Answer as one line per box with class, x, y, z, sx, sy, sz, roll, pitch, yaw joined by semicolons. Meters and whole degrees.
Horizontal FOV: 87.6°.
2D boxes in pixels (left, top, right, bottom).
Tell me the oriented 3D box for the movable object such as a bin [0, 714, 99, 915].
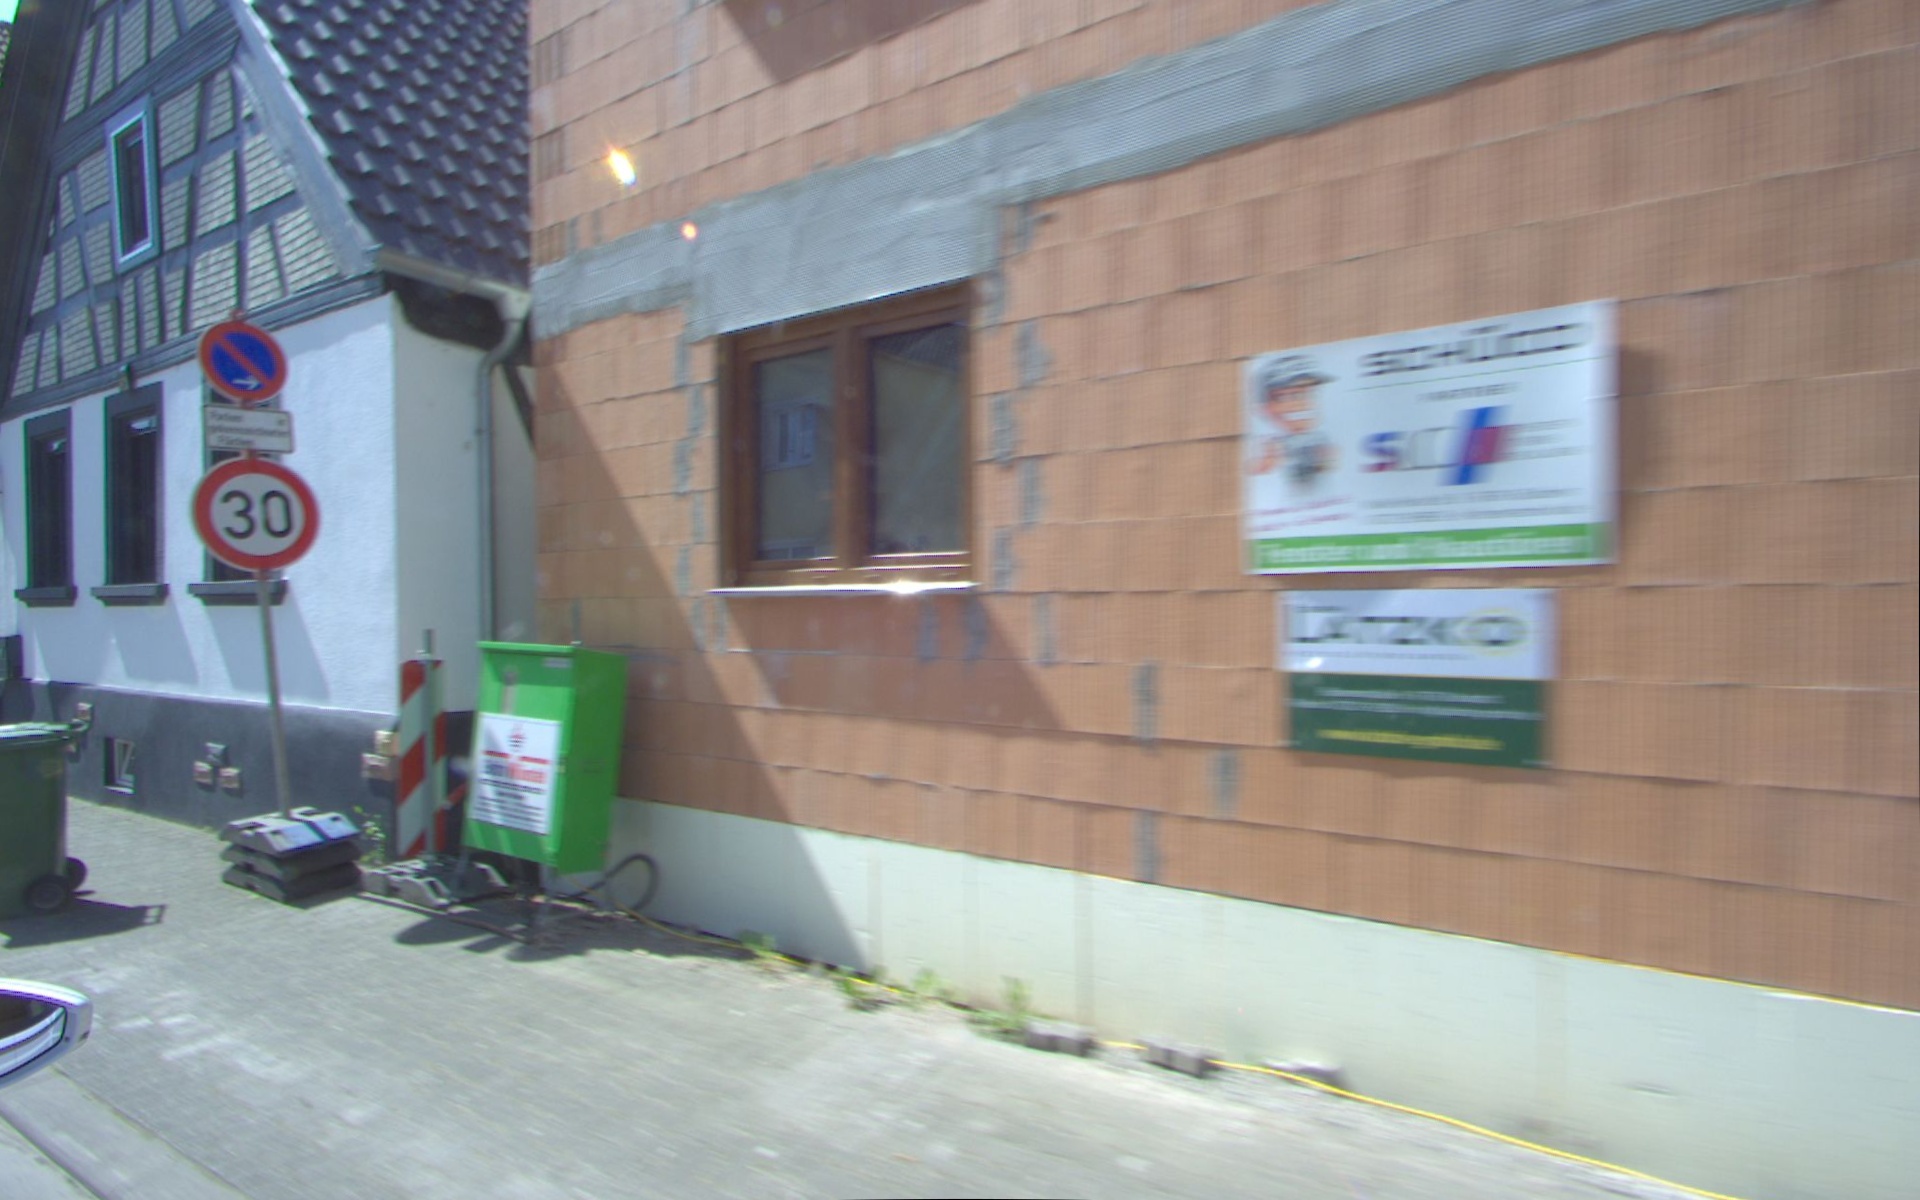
movable object such as a bin;-4.836;1.093;5.197;0.534;0.926;0.547;-1;0;-40
